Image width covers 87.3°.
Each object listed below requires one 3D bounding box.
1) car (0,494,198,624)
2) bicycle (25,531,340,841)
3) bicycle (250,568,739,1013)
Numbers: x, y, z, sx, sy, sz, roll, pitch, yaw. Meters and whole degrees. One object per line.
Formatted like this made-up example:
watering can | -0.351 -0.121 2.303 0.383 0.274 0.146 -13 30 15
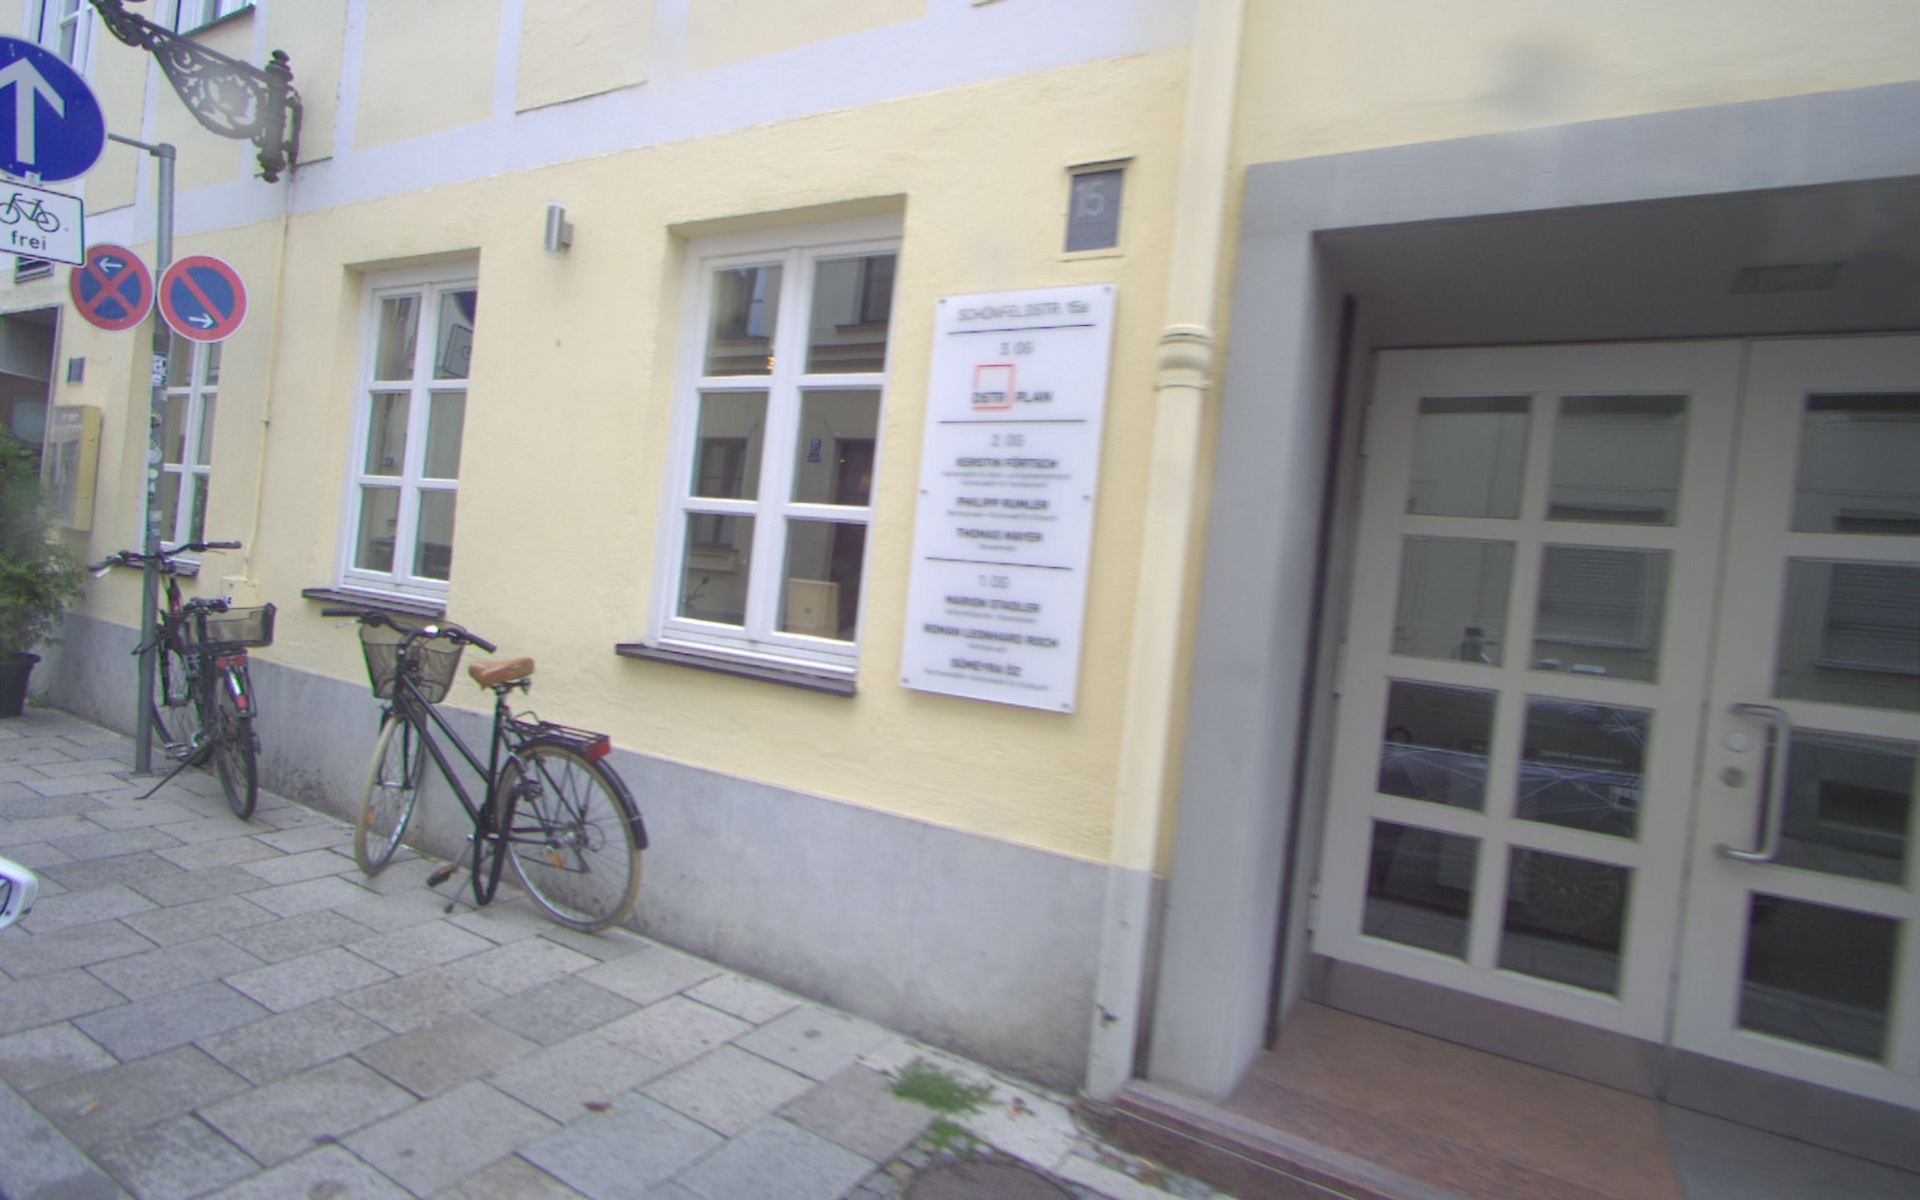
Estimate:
car | -12.921 -0.666 13.348 1.735 1.458 4.022 9 0 32
bicycle | -3.682 0.332 4.720 1.656 1.152 0.565 7 2 31
bicycle | -1.775 0.555 3.683 1.954 1.152 0.565 7 2 31
